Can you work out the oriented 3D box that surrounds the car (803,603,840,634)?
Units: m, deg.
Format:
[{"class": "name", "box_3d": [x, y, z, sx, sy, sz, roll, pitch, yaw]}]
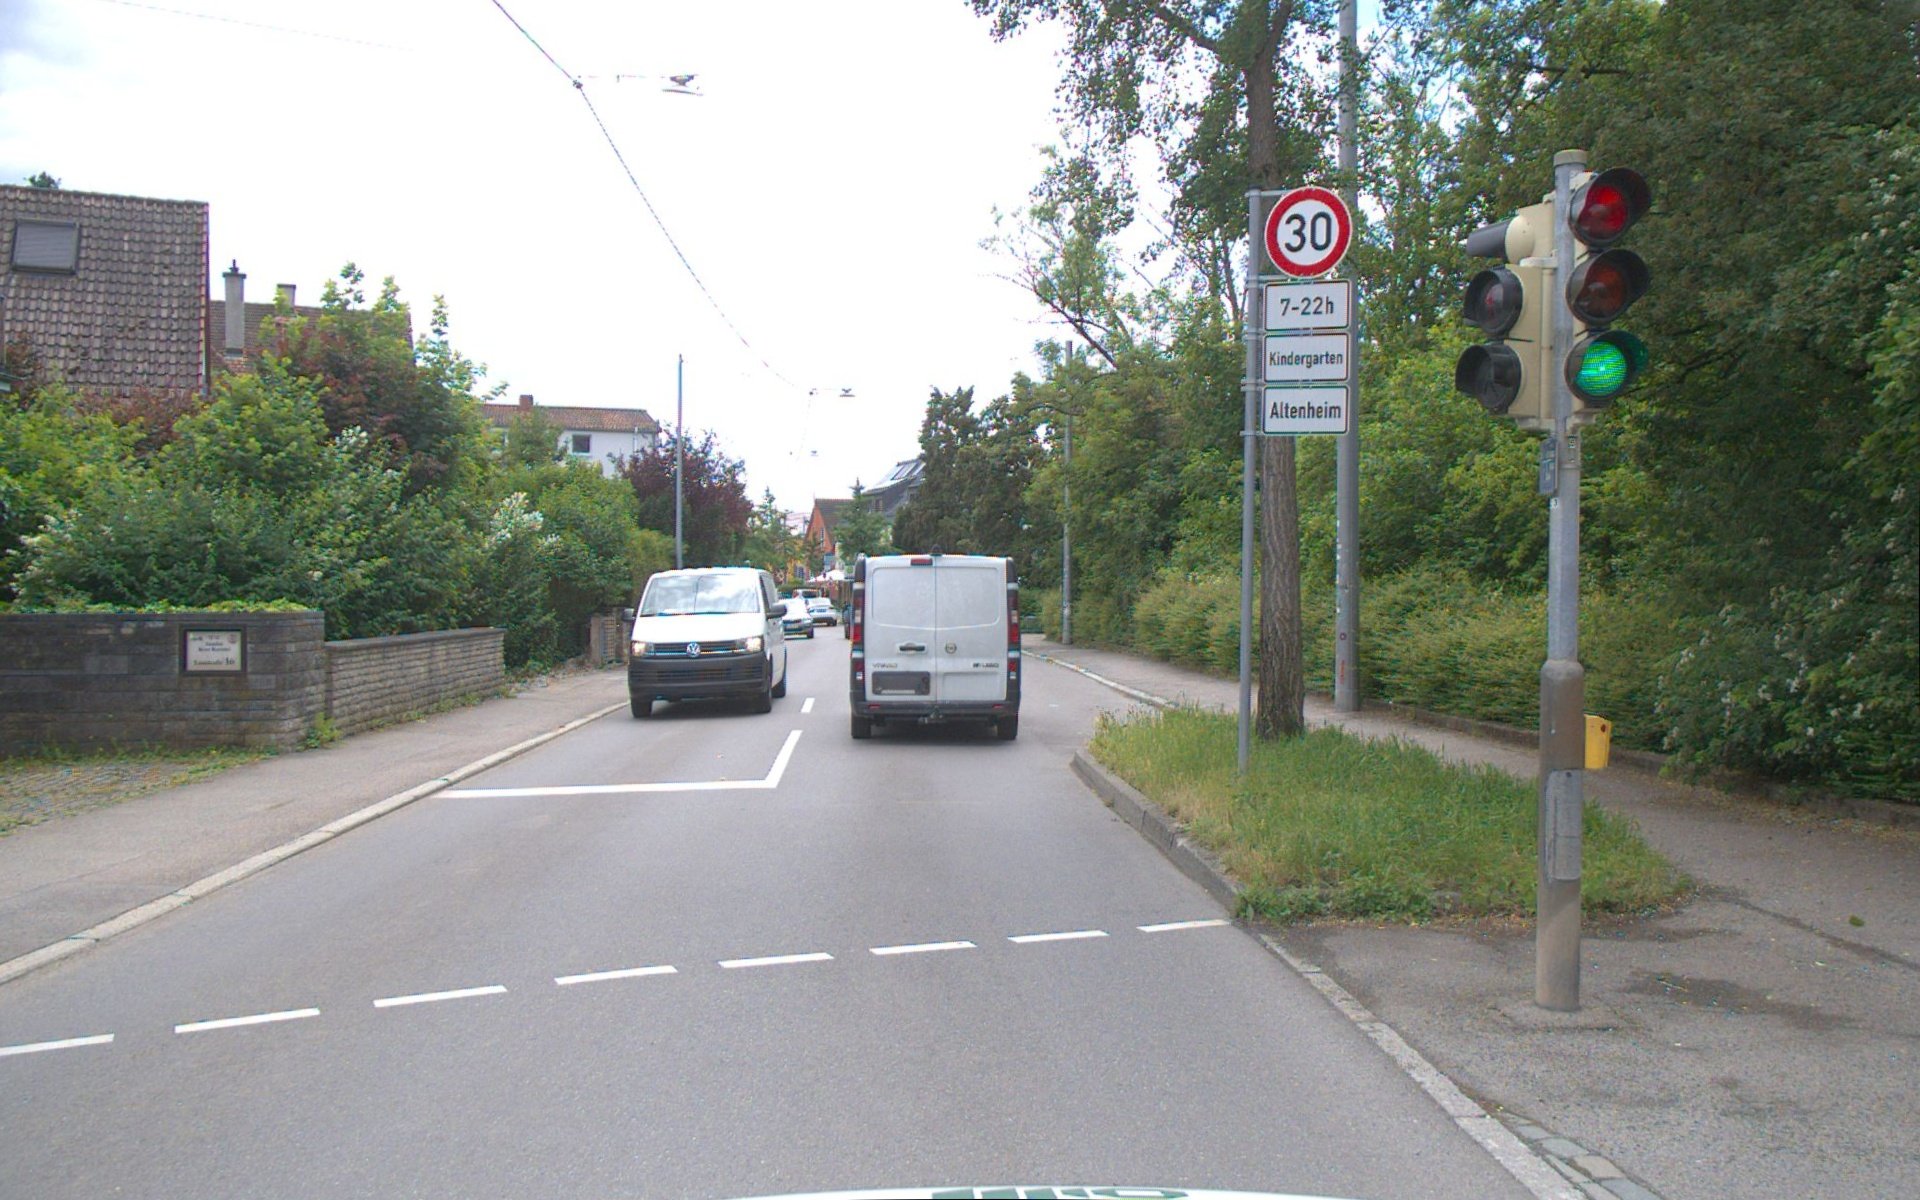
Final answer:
[{"class": "car", "box_3d": [-8.201, 1.086, 97.586, 1.792, 1.758, 3.990, 1, -1, -10]}]

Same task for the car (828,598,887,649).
[{"class": "car", "box_3d": [-3.940, 0.900, 64.076, 1.857, 1.892, 4.405, 1, -1, 2]}]

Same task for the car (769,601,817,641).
[{"class": "car", "box_3d": [-6.962, 0.850, 68.639, 1.848, 1.538, 4.105, -1, 0, -8]}]

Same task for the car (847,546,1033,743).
[{"class": "car", "box_3d": [-0.338, 0.487, 19.177, 1.892, 1.998, 4.398, 1, -1, -4]}]

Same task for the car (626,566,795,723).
[{"class": "car", "box_3d": [-3.435, 0.556, 23.653, 1.830, 1.944, 5.112, -2, 0, -3]}]
